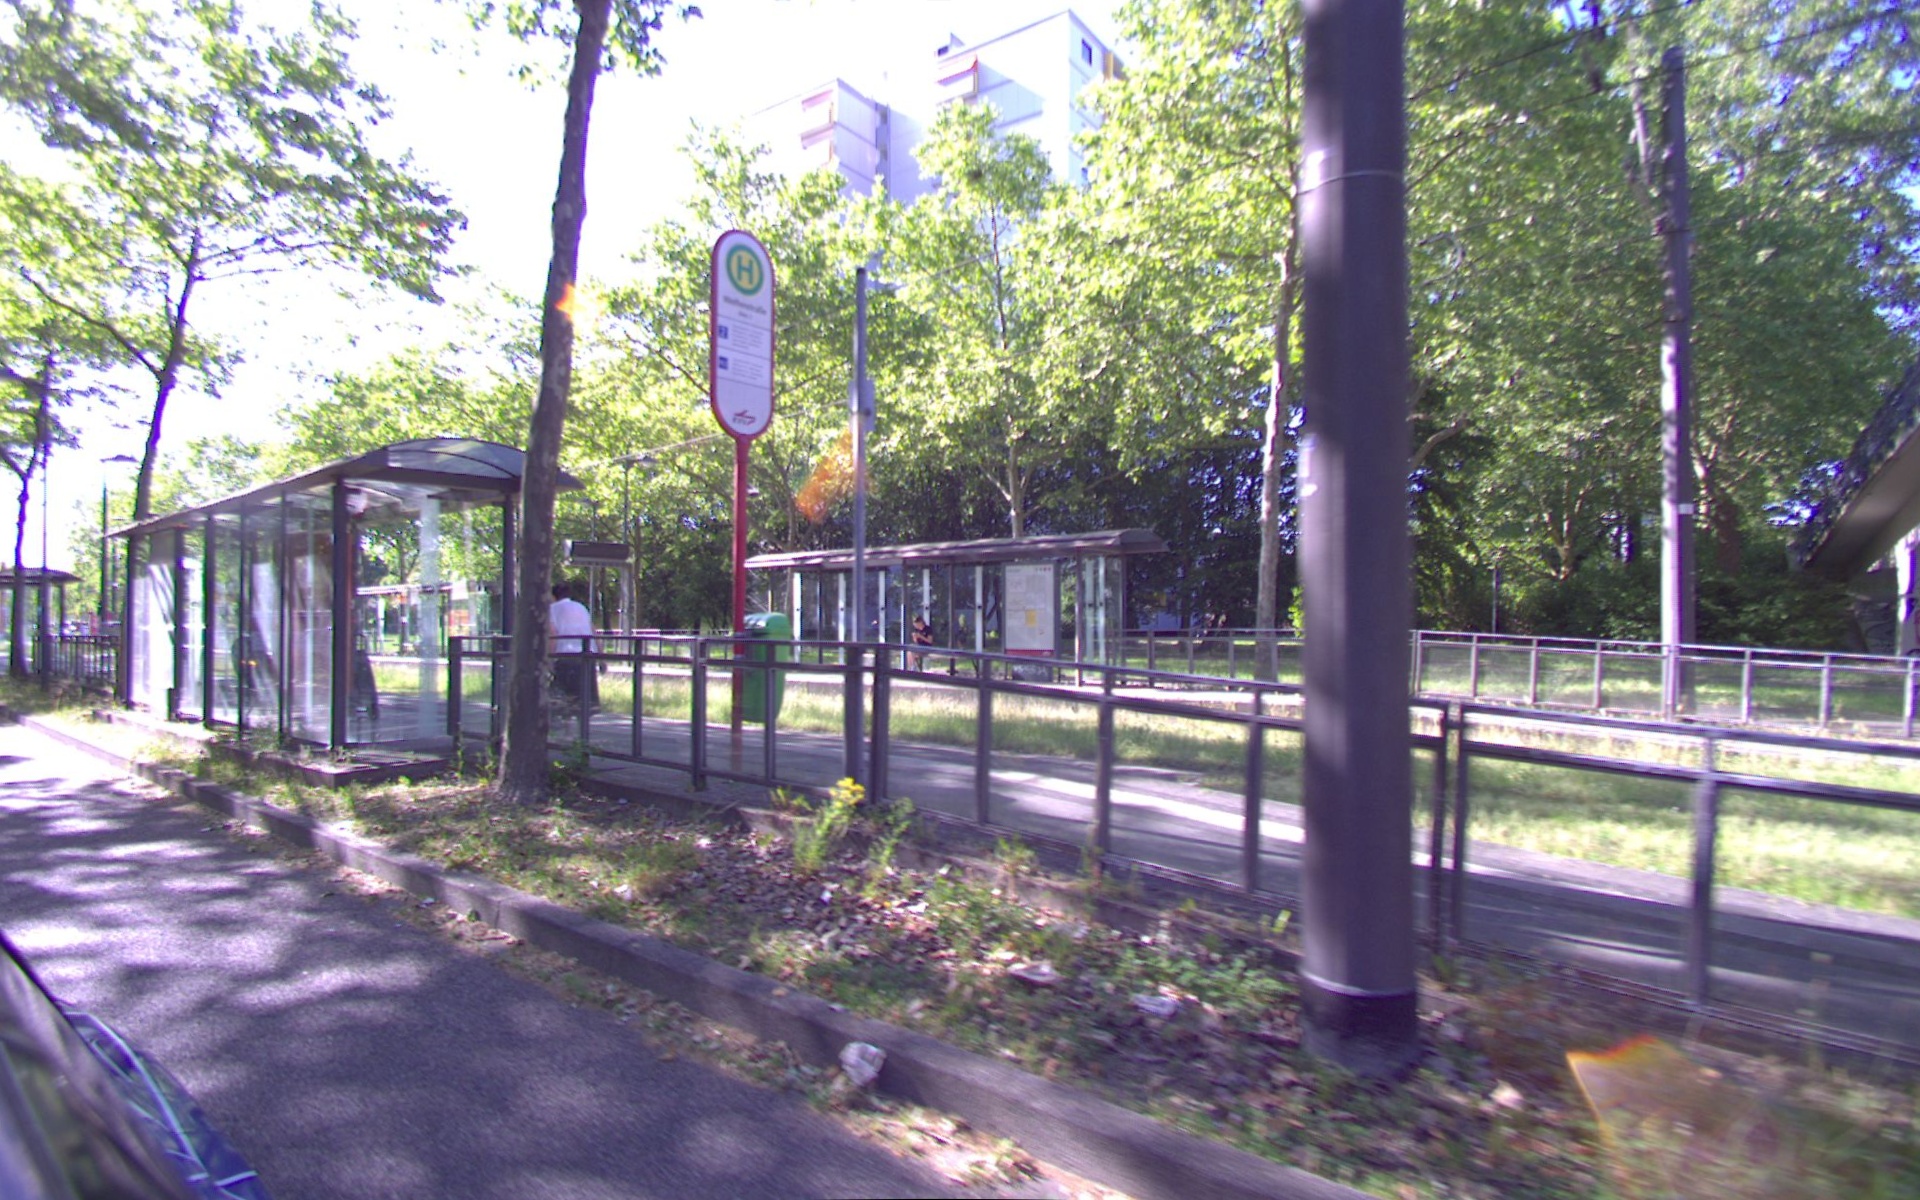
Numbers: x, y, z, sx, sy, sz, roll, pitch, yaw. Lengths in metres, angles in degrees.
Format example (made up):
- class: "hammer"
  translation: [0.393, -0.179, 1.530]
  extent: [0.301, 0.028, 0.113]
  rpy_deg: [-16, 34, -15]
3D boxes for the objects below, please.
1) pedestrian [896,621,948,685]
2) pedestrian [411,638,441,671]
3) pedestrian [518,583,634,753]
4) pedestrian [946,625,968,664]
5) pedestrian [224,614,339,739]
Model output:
- class: "pedestrian"
  translation: [-0.755, 1.044, 20.192]
  extent: [0.721, 1.247, 0.770]
  rpy_deg: [-2, -2, 40]
- class: "pedestrian"
  translation: [-19.578, 1.980, 37.123]
  extent: [0.762, 1.192, 0.758]
  rpy_deg: [-2, -2, 41]
- class: "pedestrian"
  translation: [-3.409, 0.575, 8.985]
  extent: [0.681, 1.428, 0.717]
  rpy_deg: [-2, -1, 40]
- class: "pedestrian"
  translation: [-0.131, 1.903, 43.501]
  extent: [0.650, 1.674, 0.641]
  rpy_deg: [-2, -2, 42]
- class: "pedestrian"
  translation: [-7.284, 0.789, 10.871]
  extent: [0.850, 1.252, 0.845]
  rpy_deg: [-2, -1, 43]
